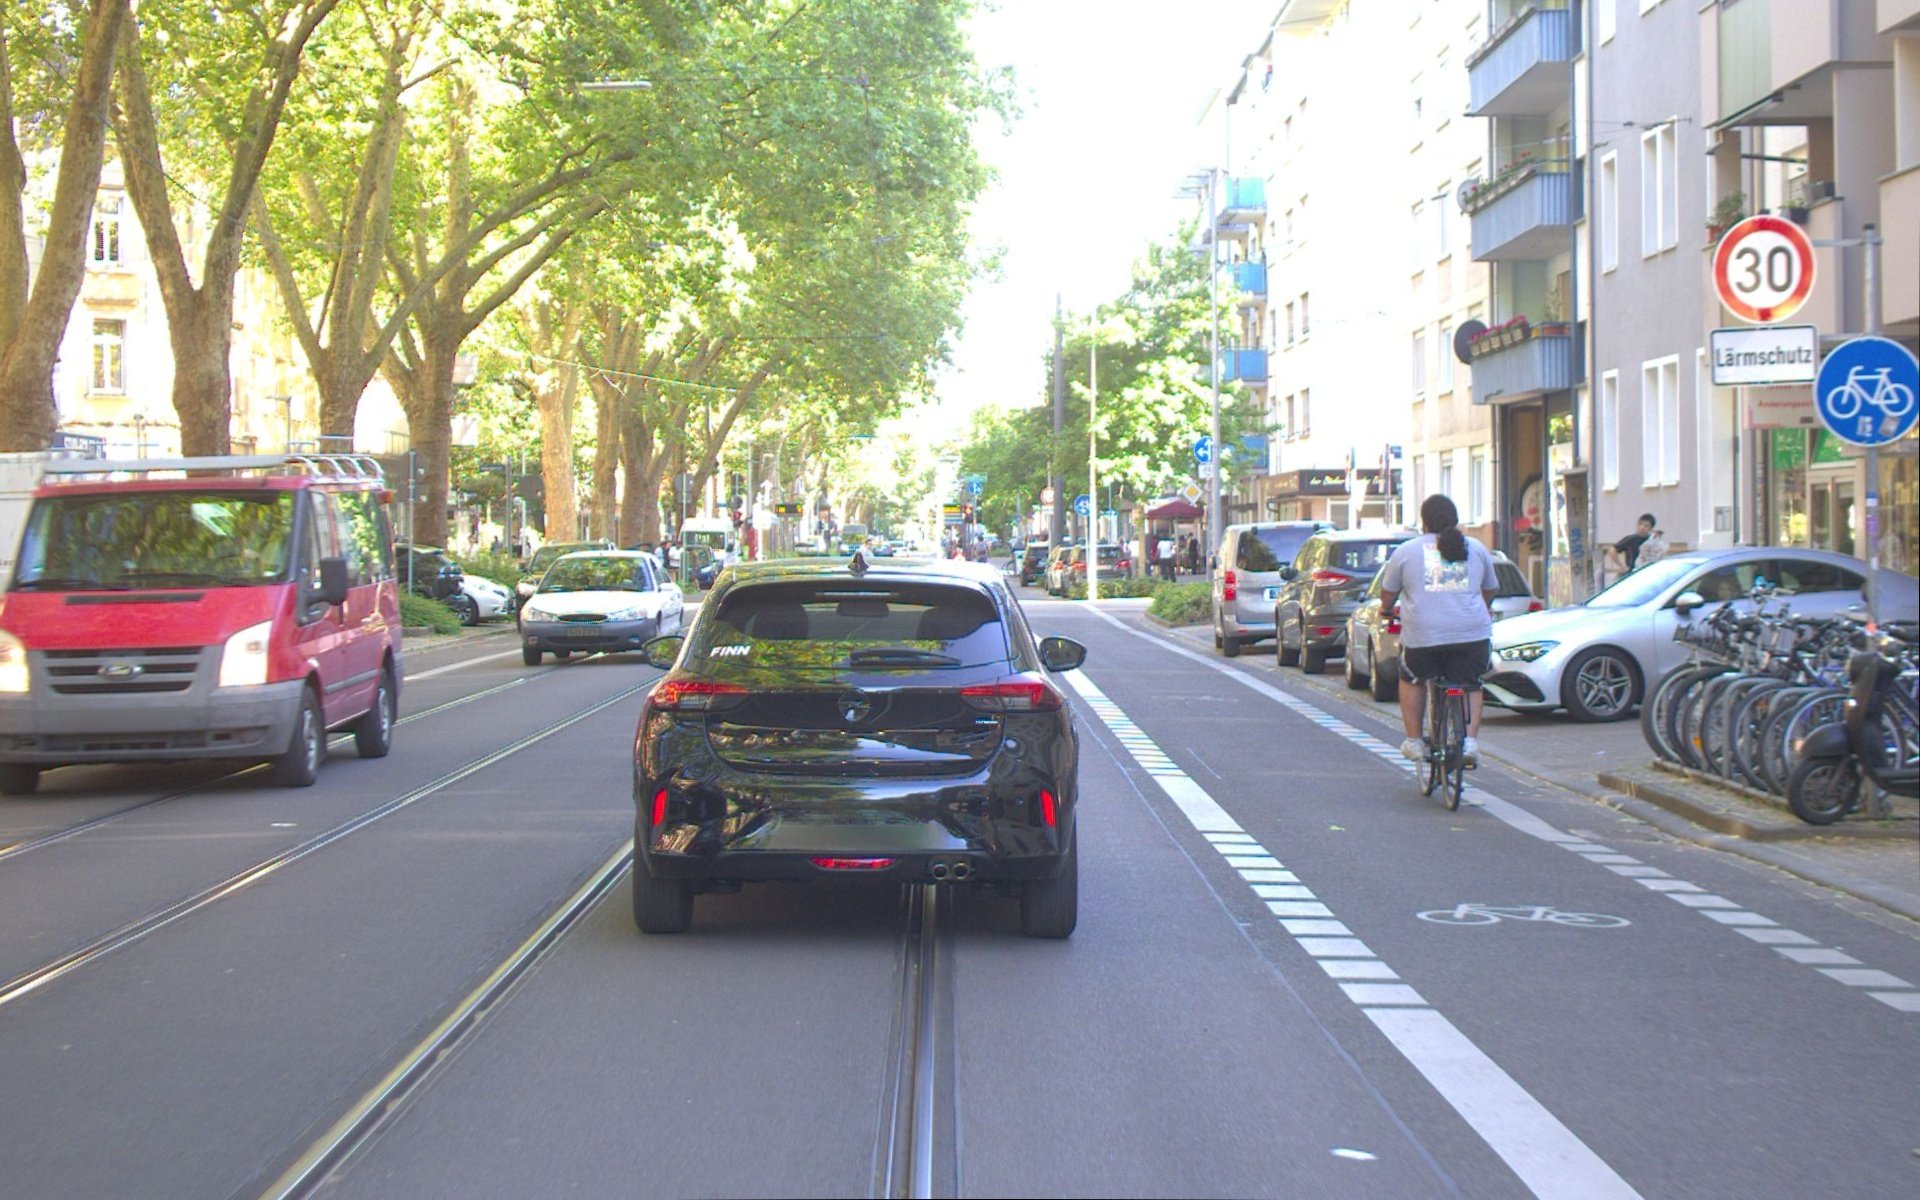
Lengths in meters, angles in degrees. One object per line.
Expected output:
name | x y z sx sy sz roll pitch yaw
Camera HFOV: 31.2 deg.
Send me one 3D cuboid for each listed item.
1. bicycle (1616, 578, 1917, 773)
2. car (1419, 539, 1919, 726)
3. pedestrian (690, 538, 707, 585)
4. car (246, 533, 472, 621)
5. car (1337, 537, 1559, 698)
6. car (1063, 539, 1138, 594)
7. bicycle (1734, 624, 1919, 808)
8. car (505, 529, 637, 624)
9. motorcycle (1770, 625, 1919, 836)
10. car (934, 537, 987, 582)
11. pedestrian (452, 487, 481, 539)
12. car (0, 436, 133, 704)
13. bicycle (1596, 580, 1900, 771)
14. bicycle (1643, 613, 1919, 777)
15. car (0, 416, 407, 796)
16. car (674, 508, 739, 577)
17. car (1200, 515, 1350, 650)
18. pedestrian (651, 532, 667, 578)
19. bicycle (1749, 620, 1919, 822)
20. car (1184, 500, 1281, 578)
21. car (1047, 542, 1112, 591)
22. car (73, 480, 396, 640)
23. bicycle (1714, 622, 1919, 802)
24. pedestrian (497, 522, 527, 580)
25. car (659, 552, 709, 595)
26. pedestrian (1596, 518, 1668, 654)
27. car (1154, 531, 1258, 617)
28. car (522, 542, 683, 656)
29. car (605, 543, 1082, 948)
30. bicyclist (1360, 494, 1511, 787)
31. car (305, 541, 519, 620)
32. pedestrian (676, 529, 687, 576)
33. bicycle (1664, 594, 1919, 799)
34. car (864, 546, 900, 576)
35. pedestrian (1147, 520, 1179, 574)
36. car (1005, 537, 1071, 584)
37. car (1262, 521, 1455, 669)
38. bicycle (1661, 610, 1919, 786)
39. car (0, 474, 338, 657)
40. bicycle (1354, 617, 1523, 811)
bicycle | 5.268 0.488 22.501 1.823 1.187 0.457 -2 1 0
car | 6.537 0.247 30.048 4.612 1.432 1.865 -2 1 -11
pedestrian | -8.851 -1.303 116.320 0.506 1.577 0.527 0 1 -1
car | -11.404 -0.446 65.401 3.986 1.641 1.894 0 1 -1
car | 4.906 0.126 35.066 1.724 1.520 4.513 0 1 1
car | 4.059 -0.991 100.013 1.718 1.568 4.085 0 1 -4
bicycle | 5.295 0.641 19.545 1.652 0.983 0.457 -2 1 0
car | -7.404 -0.482 65.839 1.993 1.694 4.485 -2 1 0
motorcycle | 5.228 0.677 18.009 1.820 1.076 0.616 -1 1 23
car | 0.022 -1.507 127.394 1.858 1.646 4.000 0 1 1
pedestrian | -15.546 -2.736 108.275 0.846 1.627 0.644 0 1 -6
car | -11.196 -0.321 33.543 5.740 2.527 2.162 0 1 0
bicycle | 5.264 0.498 23.001 1.892 1.187 0.457 -2 1 0
bicycle | 5.264 0.604 22.011 1.652 0.963 0.457 -2 1 0
car | -4.925 -0.007 22.645 1.917 2.219 4.961 0 1 -2
car | -9.743 -2.220 132.515 2.092 2.575 5.997 0 1 -1
car | 4.572 -0.291 50.471 1.858 1.883 4.924 0 1 1
pedestrian | -10.176 -1.522 116.149 0.506 1.577 0.527 0 1 -4
bicycle | 5.244 0.647 18.950 1.652 1.051 0.457 -2 1 0
car | 5.887 -1.331 74.649 1.858 1.646 4.000 0 1 1
car | 3.650 -1.039 105.475 1.718 1.485 3.682 0 1 -2
car | -11.943 -0.672 56.867 4.943 2.559 2.083 0 1 -3
bicycle | 5.289 0.639 20.054 1.652 0.983 0.457 -2 1 0
pedestrian | -14.350 -1.563 110.104 0.905 1.862 0.644 0 1 -6
car | -10.056 -0.969 125.329 1.754 1.503 4.001 0 1 -4
pedestrian | 8.544 -0.184 43.733 0.756 1.714 0.720 0 1 -1
car | 4.833 -0.535 68.052 1.858 1.646 4.000 0 1 1
car | -4.503 -0.051 43.820 1.718 1.354 4.470 0 1 -2
car | -0.440 0.499 14.145 1.679 1.417 3.628 1 1 -1
bicyclist | 2.899 0.236 21.032 0.786 1.753 0.915 0 1 -1
car | -10.828 -0.392 68.091 3.986 1.516 1.771 0 1 -1
pedestrian | -9.458 -1.619 116.596 0.346 1.577 0.508 0 1 -2
bicycle | 5.250 0.569 20.806 1.793 1.144 0.704 -2 1 0
car | -4.297 -2.152 189.857 1.750 1.646 4.000 0 1 1
pedestrian | 6.487 -1.697 110.040 0.769 1.742 0.794 0 1 26
car | 2.809 -1.443 124.301 1.993 1.634 4.001 0 1 -4
car | 4.770 -0.095 41.675 1.766 1.699 4.283 0 1 -1
bicycle | 5.278 0.610 21.505 1.652 1.017 0.457 -2 1 0
car | -11.552 -0.483 47.962 5.360 2.469 2.057 0 1 0
bicycle | 2.908 0.672 21.072 0.701 1.088 1.990 2 0 -1
